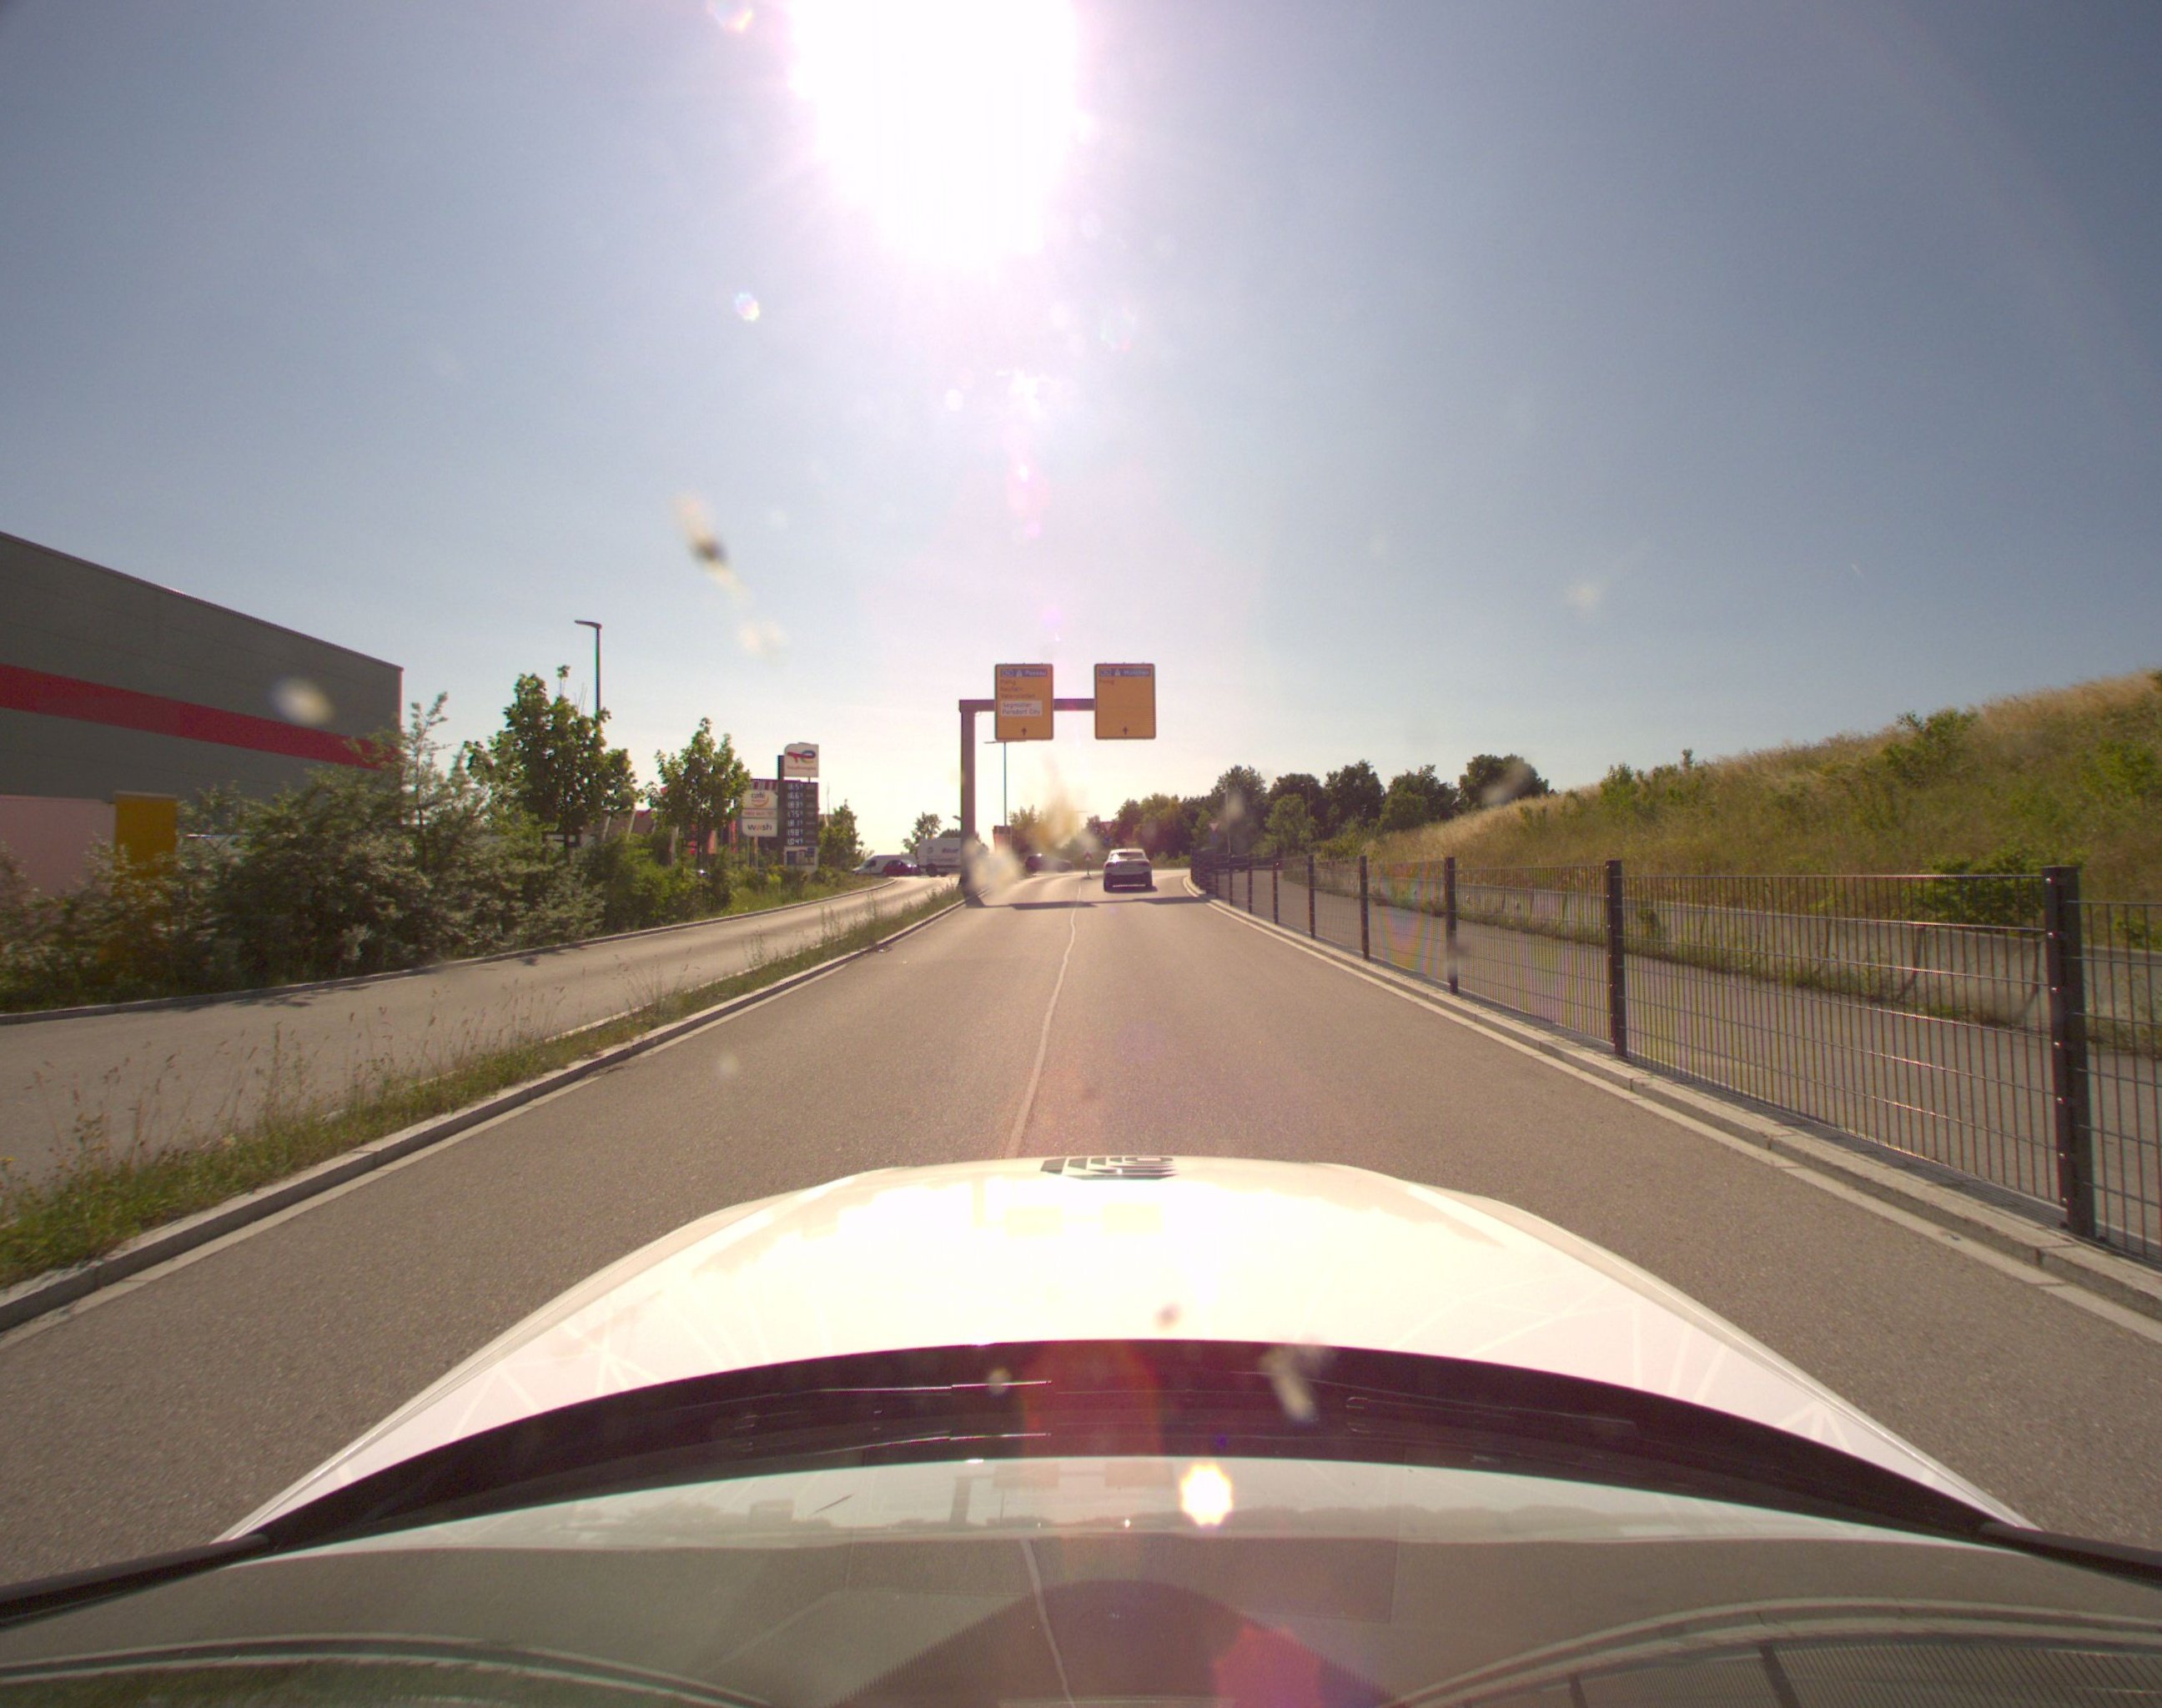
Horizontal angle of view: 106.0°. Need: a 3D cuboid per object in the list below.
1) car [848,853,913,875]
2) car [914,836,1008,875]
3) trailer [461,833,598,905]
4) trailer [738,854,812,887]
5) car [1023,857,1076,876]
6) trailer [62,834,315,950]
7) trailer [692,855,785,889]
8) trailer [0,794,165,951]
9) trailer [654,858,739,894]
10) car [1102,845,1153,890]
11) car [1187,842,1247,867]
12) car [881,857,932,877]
[{"bbox_3d":[-20.670,1.044,84.223,6.306,2.234,2.016,0,-1,-40],"label":"car"},{"bbox_3d":[-8.297,0.122,56.406,6.124,2.554,2.100,0,-1,17],"label":"car"},{"bbox_3d":[-16.338,0.430,24.297,3.251,2.014,1.730,0,-1,-32],"label":"trailer"},{"bbox_3d":[-17.897,0.947,47.709,3.713,1.772,1.788,-2,0,-35],"label":"trailer"},{"bbox_3d":[-2.419,0.954,62.947,3.782,1.405,1.630,0,-1,9],"label":"car"},{"bbox_3d":[-17.002,0.675,15.736,2.743,2.014,1.982,0,-1,-28],"label":"trailer"},{"bbox_3d":[-16.023,0.849,38.179,3.711,1.452,1.689,4,-3,-35],"label":"trailer"},{"bbox_3d":[-14.872,0.237,10.876,3.223,2.014,1.976,0,-1,-40],"label":"trailer"},{"bbox_3d":[-19.671,1.110,41.715,3.712,1.772,1.788,0,-1,-35],"label":"trailer"},{"bbox_3d":[1.783,0.522,31.884,1.834,1.596,4.327,-1,-1,2],"label":"car"},{"bbox_3d":[9.451,0.030,56.748,3.834,1.717,1.999,0,-1,-2],"label":"car"},{"bbox_3d":[-14.352,1.071,67.029,3.690,1.618,1.883,0,-1,23],"label":"car"}]
